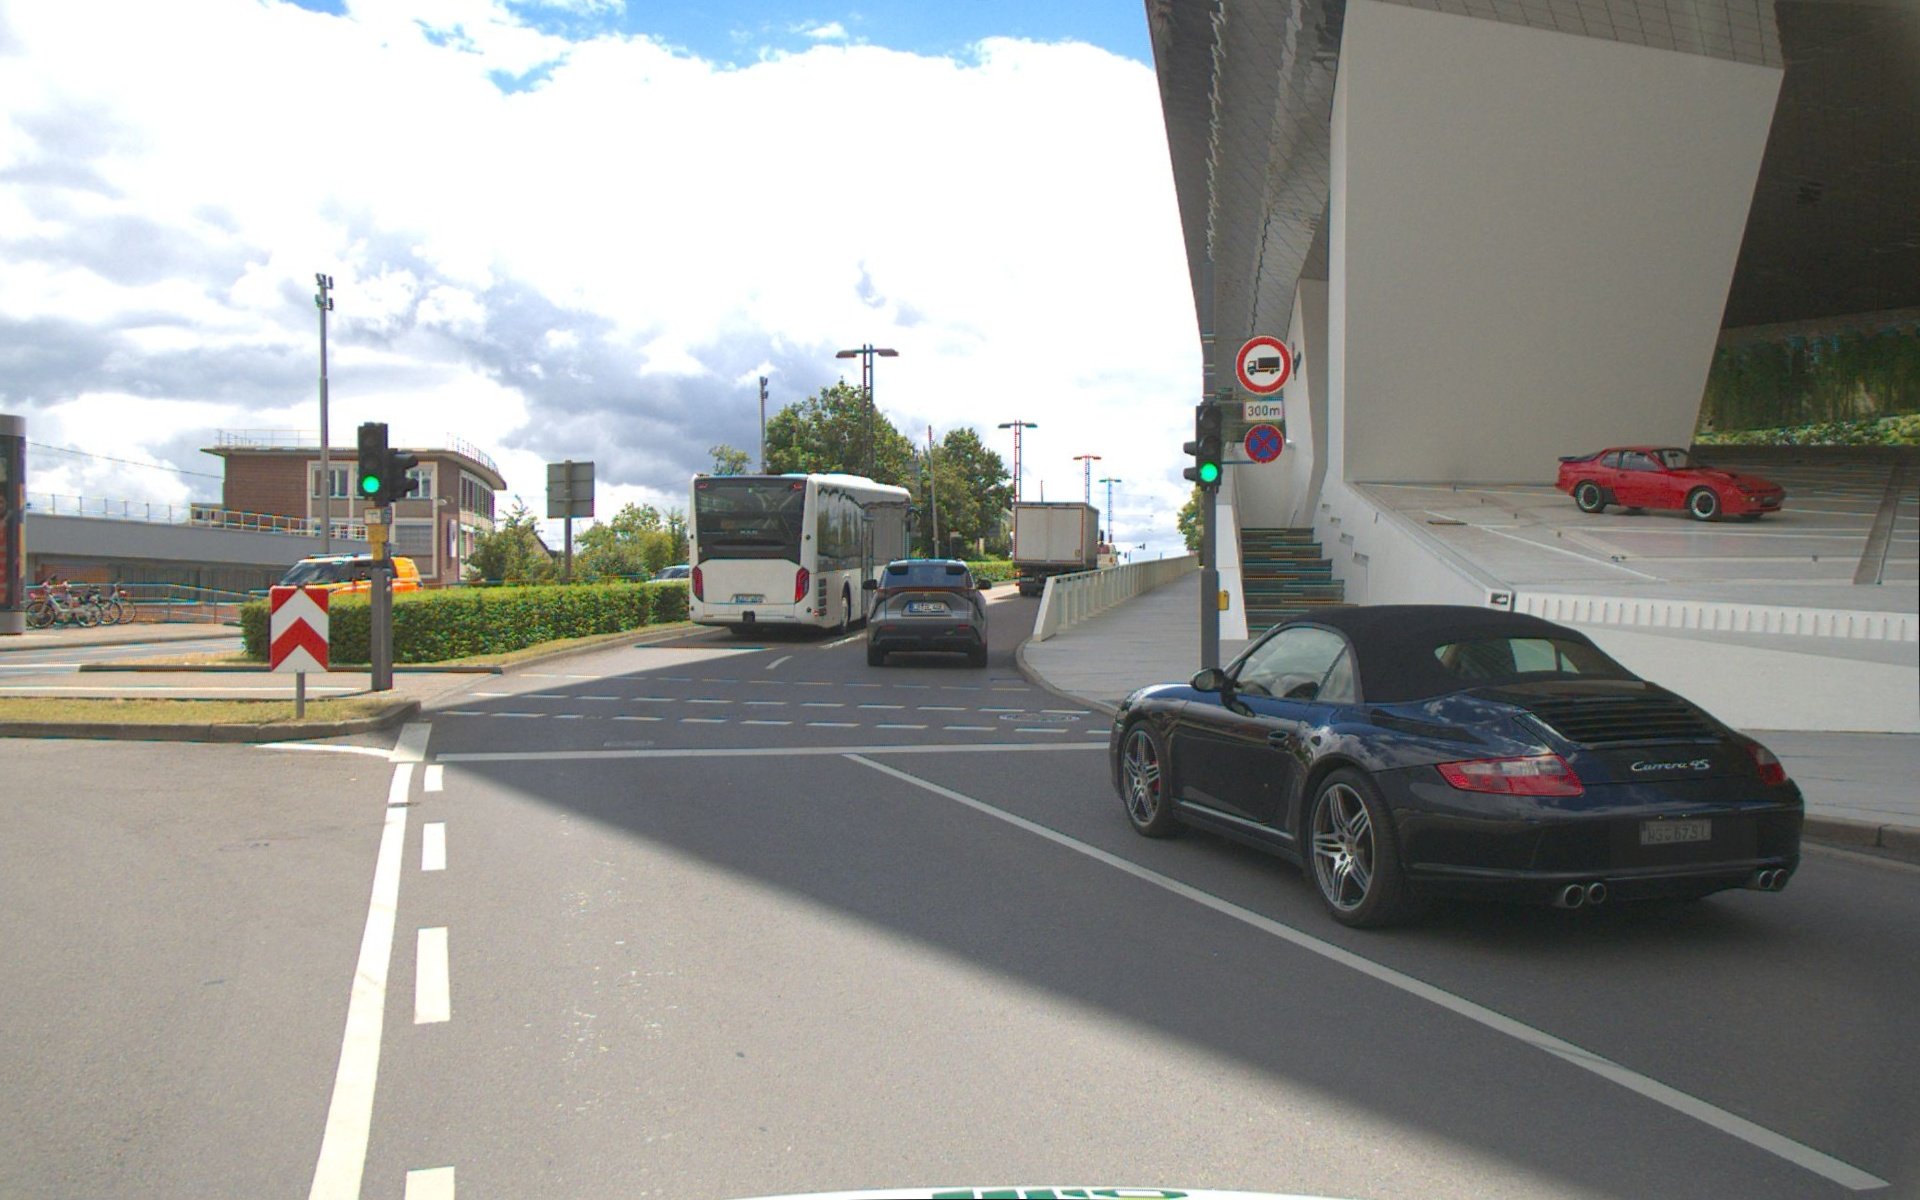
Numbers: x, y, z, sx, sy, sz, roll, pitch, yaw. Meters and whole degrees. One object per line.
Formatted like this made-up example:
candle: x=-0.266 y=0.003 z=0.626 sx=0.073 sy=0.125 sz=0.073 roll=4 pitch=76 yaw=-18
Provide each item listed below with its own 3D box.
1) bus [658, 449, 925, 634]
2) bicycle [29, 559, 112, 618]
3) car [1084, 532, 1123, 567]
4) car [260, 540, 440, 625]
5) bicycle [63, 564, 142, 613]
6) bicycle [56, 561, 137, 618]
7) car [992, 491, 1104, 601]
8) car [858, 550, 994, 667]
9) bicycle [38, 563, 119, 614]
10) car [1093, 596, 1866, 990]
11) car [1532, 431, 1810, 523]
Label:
bus: x=-3.322 y=-1.314 z=37.172 sx=3.006 sy=3.420 sz=12.236 roll=2 pitch=2 yaw=8
bicycle: x=-21.957 y=-0.274 z=40.840 sx=1.700 sy=1.405 sz=0.670 roll=2 pitch=-1 yaw=9
car: x=8.771 y=-3.049 z=100.709 sx=1.951 sy=1.937 sz=4.003 roll=2 pitch=-1 yaw=11
car: x=-15.380 y=-0.454 z=42.015 sx=1.951 sy=2.018 sz=4.841 roll=0 pitch=1 yaw=13
bicycle: x=-22.033 y=-0.296 z=42.513 sx=1.700 sy=1.202 sz=0.670 roll=2 pitch=1 yaw=9
bicycle: x=-21.815 y=-0.263 z=41.797 sx=1.700 sy=1.405 sz=0.670 roll=2 pitch=-1 yaw=9
car: x=3.396 y=-1.842 z=61.005 sx=3.264 sy=3.565 sz=9.348 roll=2 pitch=-1 yaw=8
car: x=-0.490 y=0.064 z=26.096 sx=1.953 sy=1.665 sz=4.000 roll=1 pitch=2 yaw=0
bicycle: x=-22.218 y=-0.294 z=41.710 sx=1.700 sy=1.202 sz=0.671 roll=2 pitch=5 yaw=7
car: x=2.142 y=0.684 z=8.083 sx=1.803 sy=1.348 sz=3.985 roll=0 pitch=1 yaw=-14
car: x=13.329 y=-2.388 z=31.282 sx=1.976 sy=1.418 sz=4.464 roll=-4 pitch=9 yaw=-33
